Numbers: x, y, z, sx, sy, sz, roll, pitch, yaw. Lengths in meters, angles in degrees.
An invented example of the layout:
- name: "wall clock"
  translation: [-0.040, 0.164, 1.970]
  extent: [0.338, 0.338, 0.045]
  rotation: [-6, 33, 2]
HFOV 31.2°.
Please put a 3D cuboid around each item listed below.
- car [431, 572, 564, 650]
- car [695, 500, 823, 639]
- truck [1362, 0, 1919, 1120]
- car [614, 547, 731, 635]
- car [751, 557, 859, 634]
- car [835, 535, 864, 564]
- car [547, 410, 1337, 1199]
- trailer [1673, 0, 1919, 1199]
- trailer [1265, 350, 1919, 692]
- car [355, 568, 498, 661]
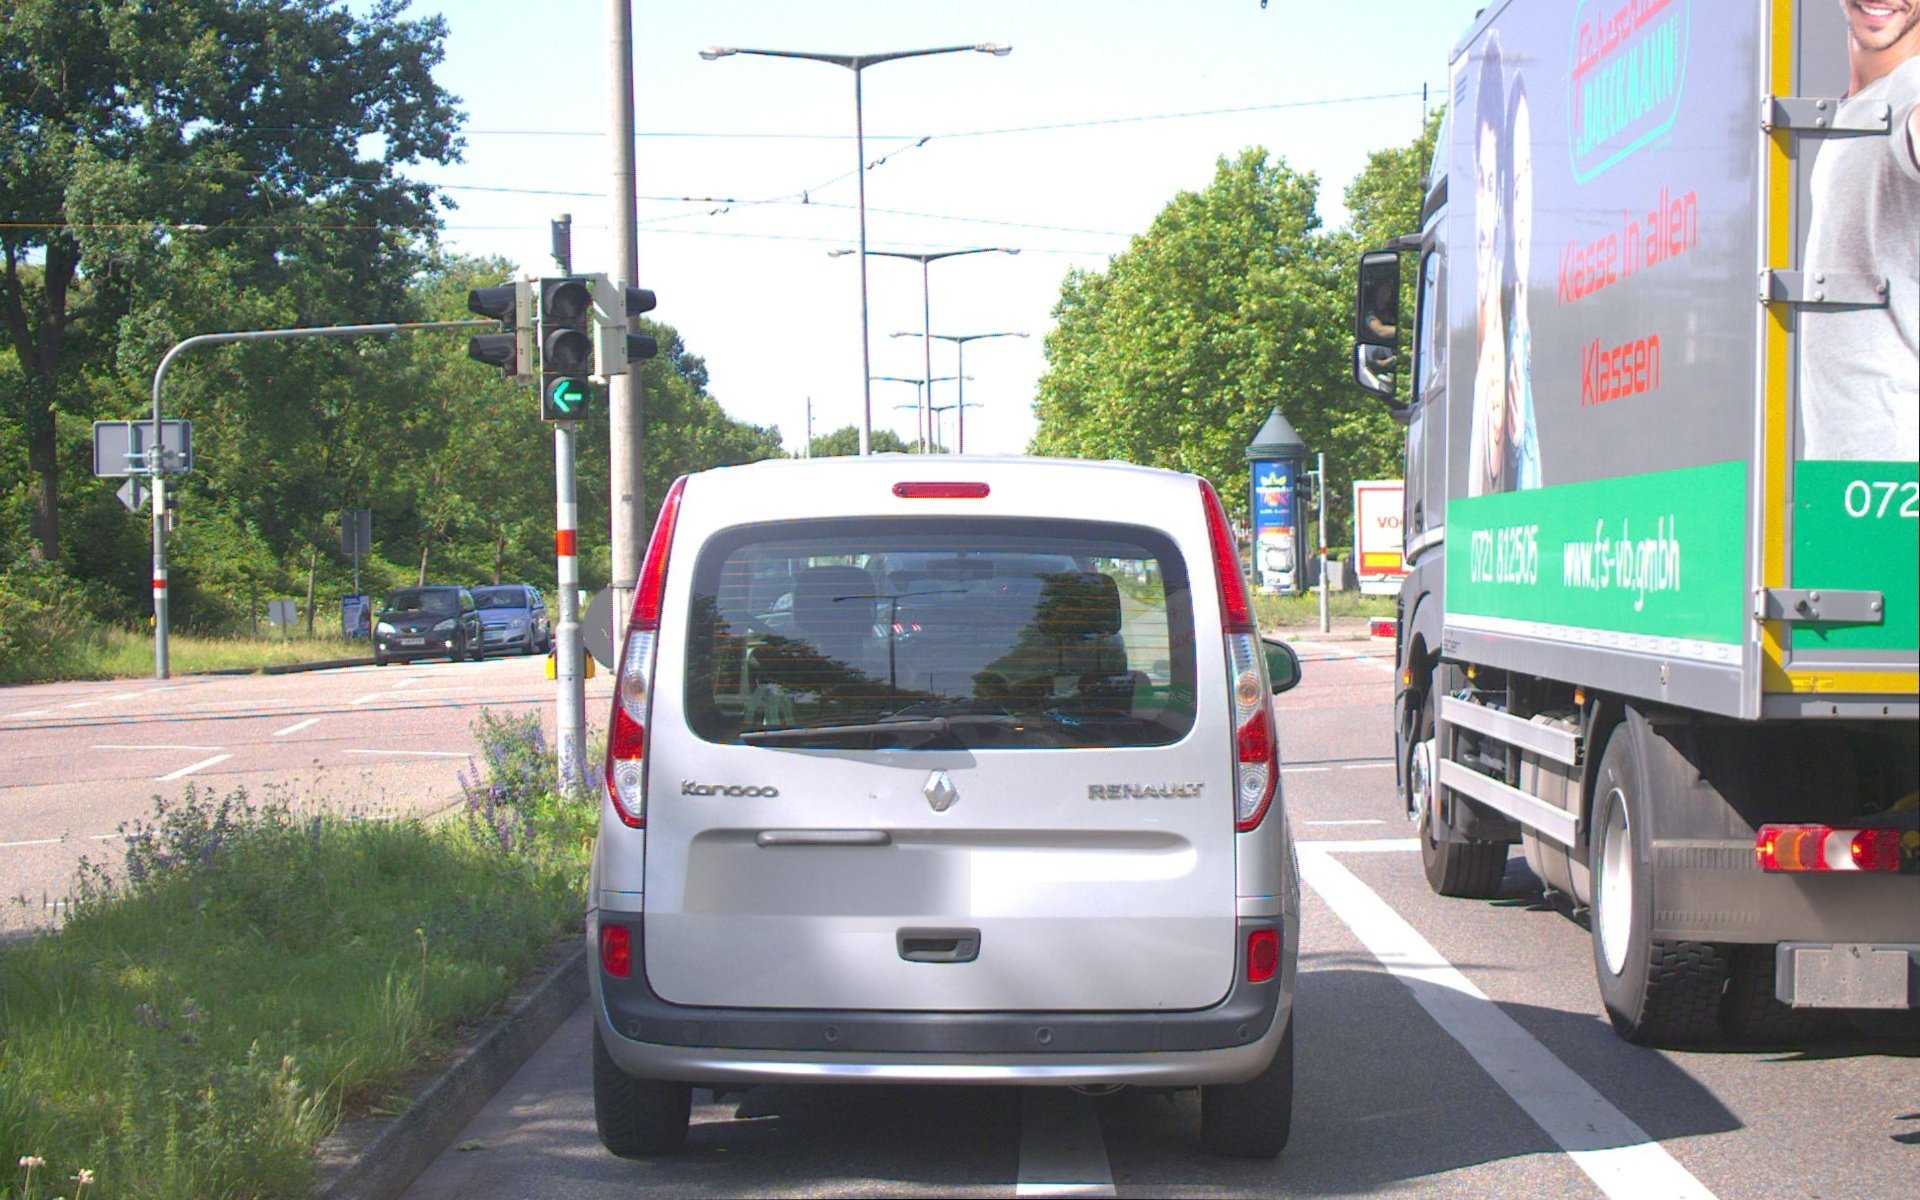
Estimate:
- name: "car"
  translation: [-9.552, 0.213, 71.295]
  extent: [1.993, 1.535, 4.236]
  rotation: [-1, 0, 2]
- name: "car"
  translation: [-3.935, -0.589, 68.165]
  extent: [1.993, 2.598, 5.133]
  rotation: [-1, 0, 2]
- name: "truck"
  translation: [3.263, -0.678, 12.823]
  extent: [2.729, 3.876, 8.722]
  rotation: [0, 0, 2]
- name: "car"
  translation: [-6.369, -0.202, 76.624]
  extent: [1.993, 1.863, 4.773]
  rotation: [-1, 0, 2]
- name: "car"
  translation: [-3.378, -0.109, 75.640]
  extent: [1.994, 1.579, 4.000]
  rotation: [-2, 0, 2]
- name: "car"
  translation: [-8.138, -3.703, 253.146]
  extent: [1.888, 2.007, 4.000]
  rotation: [1, 0, 2]
- name: "car"
  translation: [-0.070, 0.485, 9.898]
  extent: [1.786, 1.831, 4.000]
  rotation: [1, 0, -1]
- name: "trailer"
  translation: [3.059, -0.511, 4.577]
  extent: [2.736, 3.863, 7.735]
  rotation: [-1, 0, 1]
- name: "trailer"
  translation: [8.655, -0.809, 42.050]
  extent: [2.907, 3.610, 12.655]
  rotation: [1, 0, 41]
- name: "car"
  translation: [-9.887, 0.253, 63.977]
  extent: [1.911, 1.636, 3.737]
  rotation: [-1, 0, 2]
